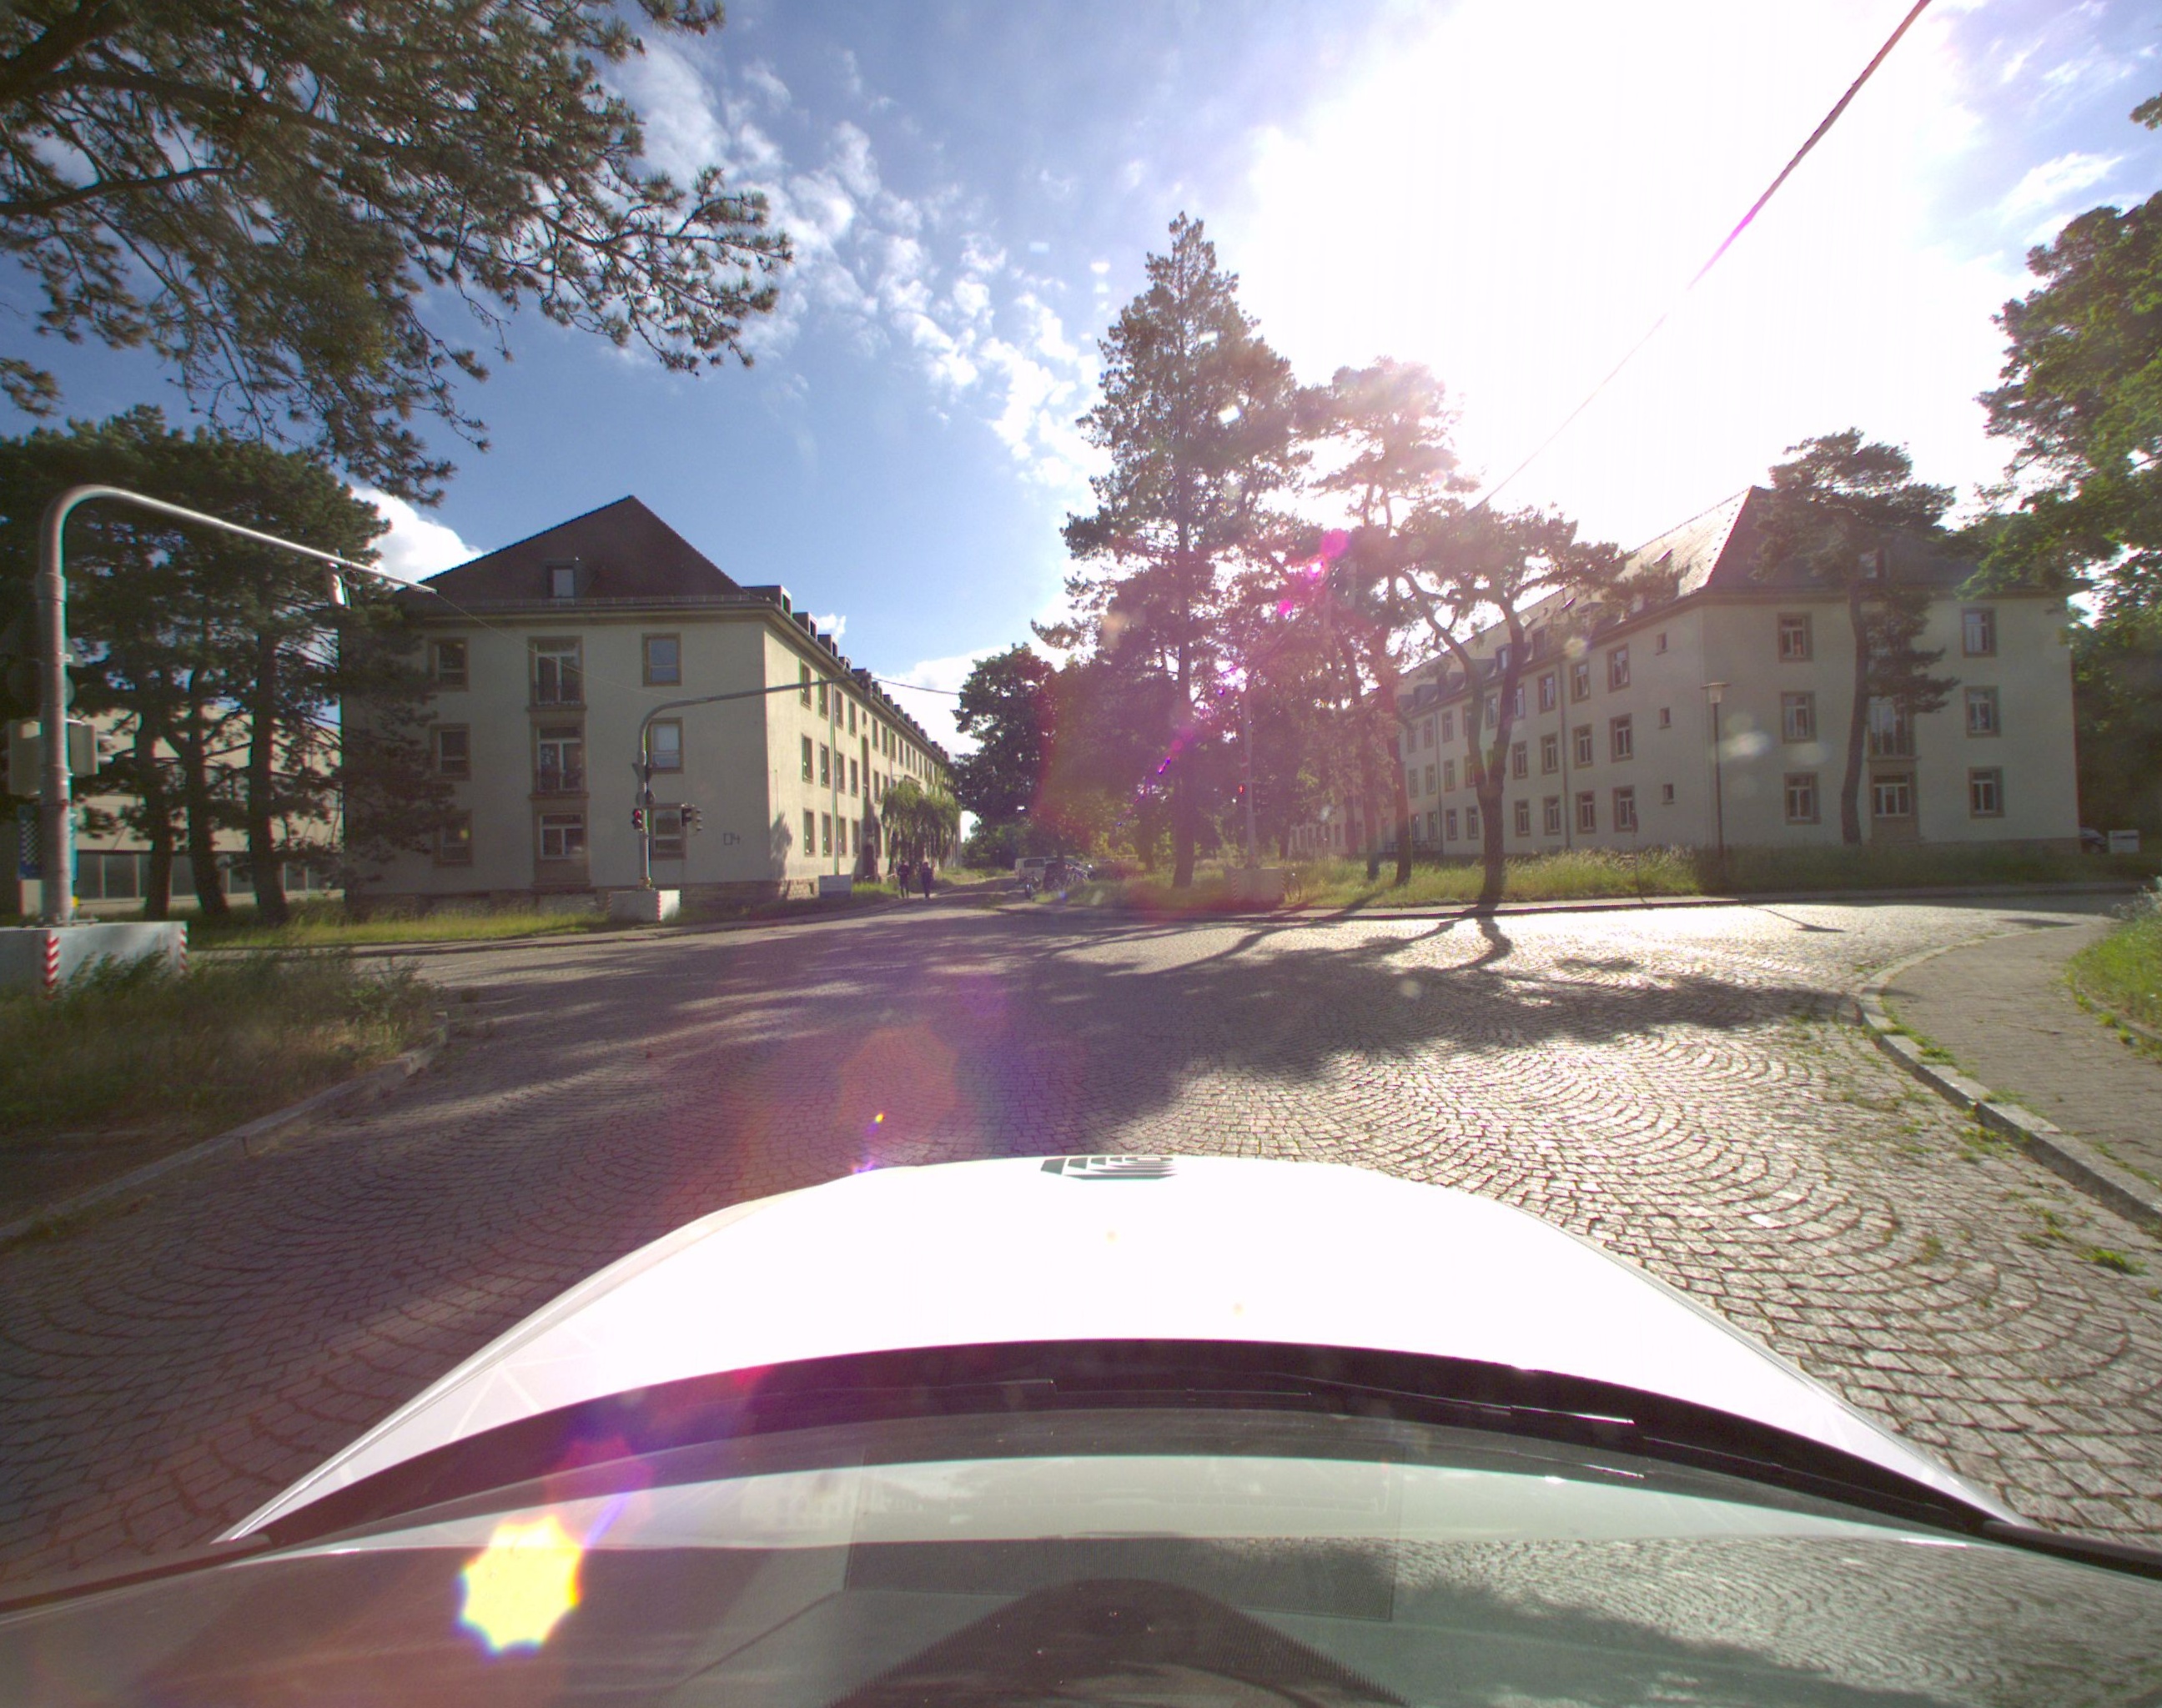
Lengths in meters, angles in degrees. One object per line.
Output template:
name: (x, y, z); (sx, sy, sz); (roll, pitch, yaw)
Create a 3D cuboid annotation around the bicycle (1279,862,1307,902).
bicycle: (5.968, 0.777, 22.980); (0.464, 1.080, 1.174); (-2, -1, 2)

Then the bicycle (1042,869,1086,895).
bicycle: (-0.735, 1.187, 34.830); (1.851, 1.031, 0.748); (-2, -1, -5)

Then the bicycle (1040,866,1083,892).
bicycle: (-0.920, 1.173, 37.932); (1.939, 1.129, 0.646); (-2, -1, -8)

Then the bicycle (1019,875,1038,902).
bicycle: (-2.022, 1.299, 31.296); (0.694, 0.971, 1.858); (-1, -1, -4)

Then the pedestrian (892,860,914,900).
pedestrian: (-8.245, 1.205, 37.743); (0.807, 1.817, 0.556); (-2, -1, 8)

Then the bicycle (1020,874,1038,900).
bicycle: (-2.141, 1.327, 33.228); (0.694, 0.971, 1.858); (-1, -1, -4)

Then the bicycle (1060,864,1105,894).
bicycle: (0.057, 1.105, 36.360); (1.938, 1.235, 0.484); (-2, -1, -5)

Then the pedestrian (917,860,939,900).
pedestrian: (-7.088, 1.213, 37.695); (0.763, 1.817, 0.684); (-2, -1, 9)

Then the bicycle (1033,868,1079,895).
bicycle: (-1.121, 1.214, 36.824); (1.952, 1.129, 0.641); (-2, -1, -29)

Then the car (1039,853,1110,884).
car: (-0.395, 0.861, 48.601); (3.987, 1.684, 1.841); (-2, -1, -10)

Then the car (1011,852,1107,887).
car: (-1.447, 0.992, 52.893); (5.929, 2.014, 2.467); (-2, -1, -9)

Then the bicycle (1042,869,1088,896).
bicycle: (-0.728, 1.237, 35.629); (1.938, 1.129, 0.748); (-2, -1, -5)
